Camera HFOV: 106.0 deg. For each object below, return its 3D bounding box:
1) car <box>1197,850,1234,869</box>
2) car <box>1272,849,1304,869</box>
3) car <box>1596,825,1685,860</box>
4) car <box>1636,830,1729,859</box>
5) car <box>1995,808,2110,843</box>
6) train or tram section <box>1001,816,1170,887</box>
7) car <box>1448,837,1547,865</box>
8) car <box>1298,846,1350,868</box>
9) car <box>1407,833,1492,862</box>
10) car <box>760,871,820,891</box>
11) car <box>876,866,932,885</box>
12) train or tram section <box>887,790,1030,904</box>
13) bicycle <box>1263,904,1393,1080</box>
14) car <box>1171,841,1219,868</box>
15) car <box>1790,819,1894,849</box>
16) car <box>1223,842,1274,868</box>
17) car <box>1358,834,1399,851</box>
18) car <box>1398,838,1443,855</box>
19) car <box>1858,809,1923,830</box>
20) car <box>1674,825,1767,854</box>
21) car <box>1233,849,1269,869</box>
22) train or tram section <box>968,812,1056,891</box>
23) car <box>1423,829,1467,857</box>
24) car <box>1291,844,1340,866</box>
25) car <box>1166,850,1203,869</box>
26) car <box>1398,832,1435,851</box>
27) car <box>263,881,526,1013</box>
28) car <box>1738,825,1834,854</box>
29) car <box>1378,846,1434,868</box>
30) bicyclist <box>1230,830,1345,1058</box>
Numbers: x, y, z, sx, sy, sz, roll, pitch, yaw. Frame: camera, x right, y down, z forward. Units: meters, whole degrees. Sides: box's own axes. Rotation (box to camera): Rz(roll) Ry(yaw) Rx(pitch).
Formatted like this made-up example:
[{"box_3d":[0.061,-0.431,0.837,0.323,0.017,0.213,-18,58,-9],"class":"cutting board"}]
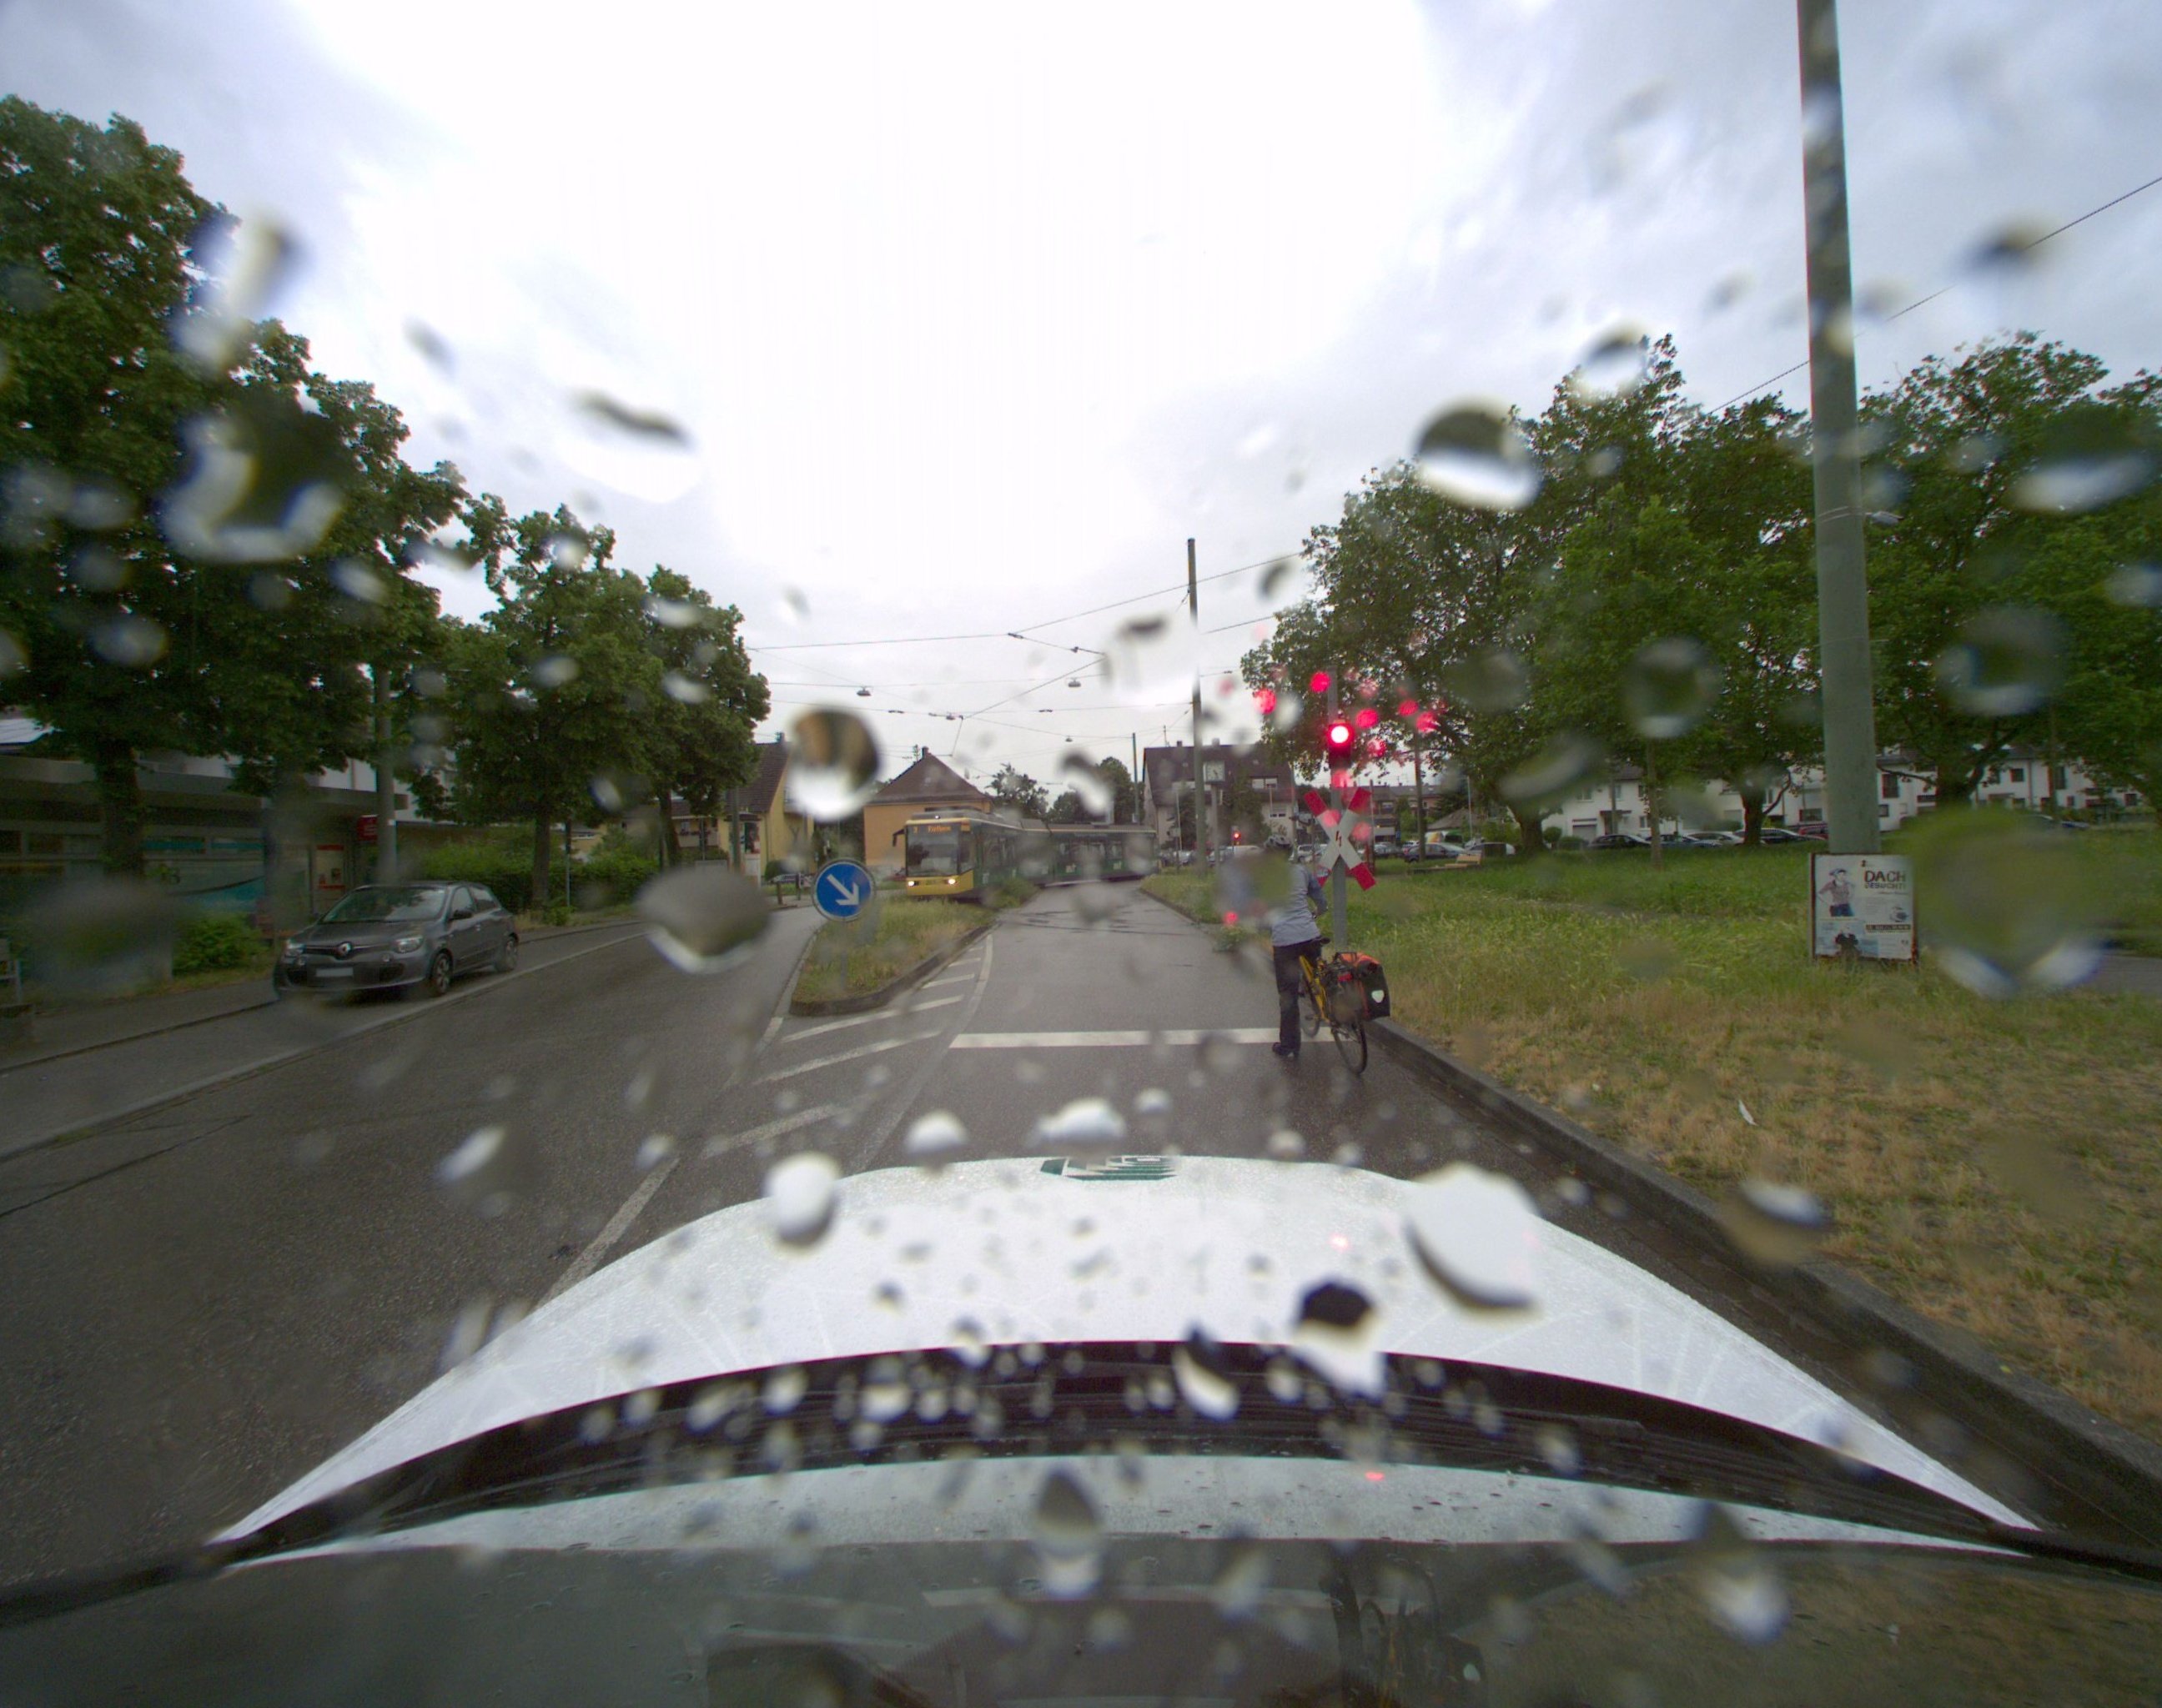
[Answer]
[{"box_3d":[11.620,0.481,70.241,1.975,1.640,4.024,-1,-1,27],"class":"car"},{"box_3d":[17.969,0.440,70.700,1.823,1.640,4.024,-1,-1,27],"class":"car"},{"box_3d":[30.536,-0.609,44.530,1.821,1.798,3.721,0,-1,-44],"class":"car"},{"box_3d":[33.197,-0.493,44.988,1.821,1.495,3.867,0,-1,-44],"class":"car"},{"box_3d":[54.629,-1.573,45.859,1.815,1.765,3.878,0,-1,-29],"class":"car"},{"box_3d":[0.756,-0.223,47.427,2.733,3.553,13.218,-3,0,34],"class":"train or tram section"},{"box_3d":[20.500,-0.128,40.244,3.964,1.285,1.851,0,-1,8],"class":"car"},{"box_3d":[19.307,0.258,64.805,3.670,1.701,1.891,0,-1,2],"class":"car"},{"box_3d":[20.254,-0.320,44.897,1.821,1.495,3.867,0,-1,-44],"class":"car"},{"box_3d":[-22.114,2.040,62.018,3.979,1.456,1.831,0,-1,-5],"class":"car"},{"box_3d":[-13.668,1.661,63.064,3.979,1.456,1.831,0,-1,-5],"class":"car"},{"box_3d":[-4.366,-0.159,32.435,2.748,3.553,12.219,-3,-1,5],"class":"train or tram section"},{"box_3d":[1.793,0.948,6.132,0.444,1.004,1.728,-2,0,1],"class":"bicycle"},{"box_3d":[11.172,0.025,79.712,4.362,2.566,2.008,-1,-1,16],"class":"car"},{"box_3d":[42.622,-1.085,45.681,1.814,1.495,3.881,0,-1,-27],"class":"car"},{"box_3d":[15.620,0.077,76.035,4.381,2.325,1.999,0,-1,-1],"class":"car"},{"box_3d":[33.111,-1.229,90.781,3.968,1.791,2.002,0,-1,4],"class":"car"},{"box_3d":[35.416,-0.773,84.944,3.971,1.640,1.847,0,-1,2],"class":"car"},{"box_3d":[69.990,-2.993,70.454,3.670,1.660,1.891,0,-1,2],"class":"car"},{"box_3d":[35.701,-0.751,45.519,1.821,1.495,3.867,0,-1,-44],"class":"car"},{"box_3d":[14.735,0.460,70.387,1.975,1.640,4.024,-1,-1,27],"class":"car"},{"box_3d":[-3.306,-0.086,40.417,2.741,3.553,5.007,-3,-1,14],"class":"train or tram section"},{"box_3d":[32.567,-0.966,72.991,1.987,2.443,4.354,0,-1,1],"class":"car"},{"box_3d":[21.802,0.088,75.924,3.974,1.951,1.999,0,-1,-1],"class":"car"},{"box_3d":[9.088,0.511,71.472,1.975,1.640,4.024,-1,-1,27],"class":"car"},{"box_3d":[39.110,-1.428,95.042,1.998,2.014,3.978,0,-1,-16],"class":"car"},{"box_3d":[-9.686,1.191,11.871,1.621,1.496,3.645,0,-1,-18],"class":"car"},{"box_3d":[39.259,-0.778,45.407,1.821,1.495,3.867,0,-1,-44],"class":"car"},{"box_3d":[25.888,0.213,64.950,3.670,1.701,1.891,0,-1,2],"class":"car"},{"box_3d":[1.557,0.647,6.255,0.665,1.626,0.853,0,-1,0],"class":"bicyclist"}]
